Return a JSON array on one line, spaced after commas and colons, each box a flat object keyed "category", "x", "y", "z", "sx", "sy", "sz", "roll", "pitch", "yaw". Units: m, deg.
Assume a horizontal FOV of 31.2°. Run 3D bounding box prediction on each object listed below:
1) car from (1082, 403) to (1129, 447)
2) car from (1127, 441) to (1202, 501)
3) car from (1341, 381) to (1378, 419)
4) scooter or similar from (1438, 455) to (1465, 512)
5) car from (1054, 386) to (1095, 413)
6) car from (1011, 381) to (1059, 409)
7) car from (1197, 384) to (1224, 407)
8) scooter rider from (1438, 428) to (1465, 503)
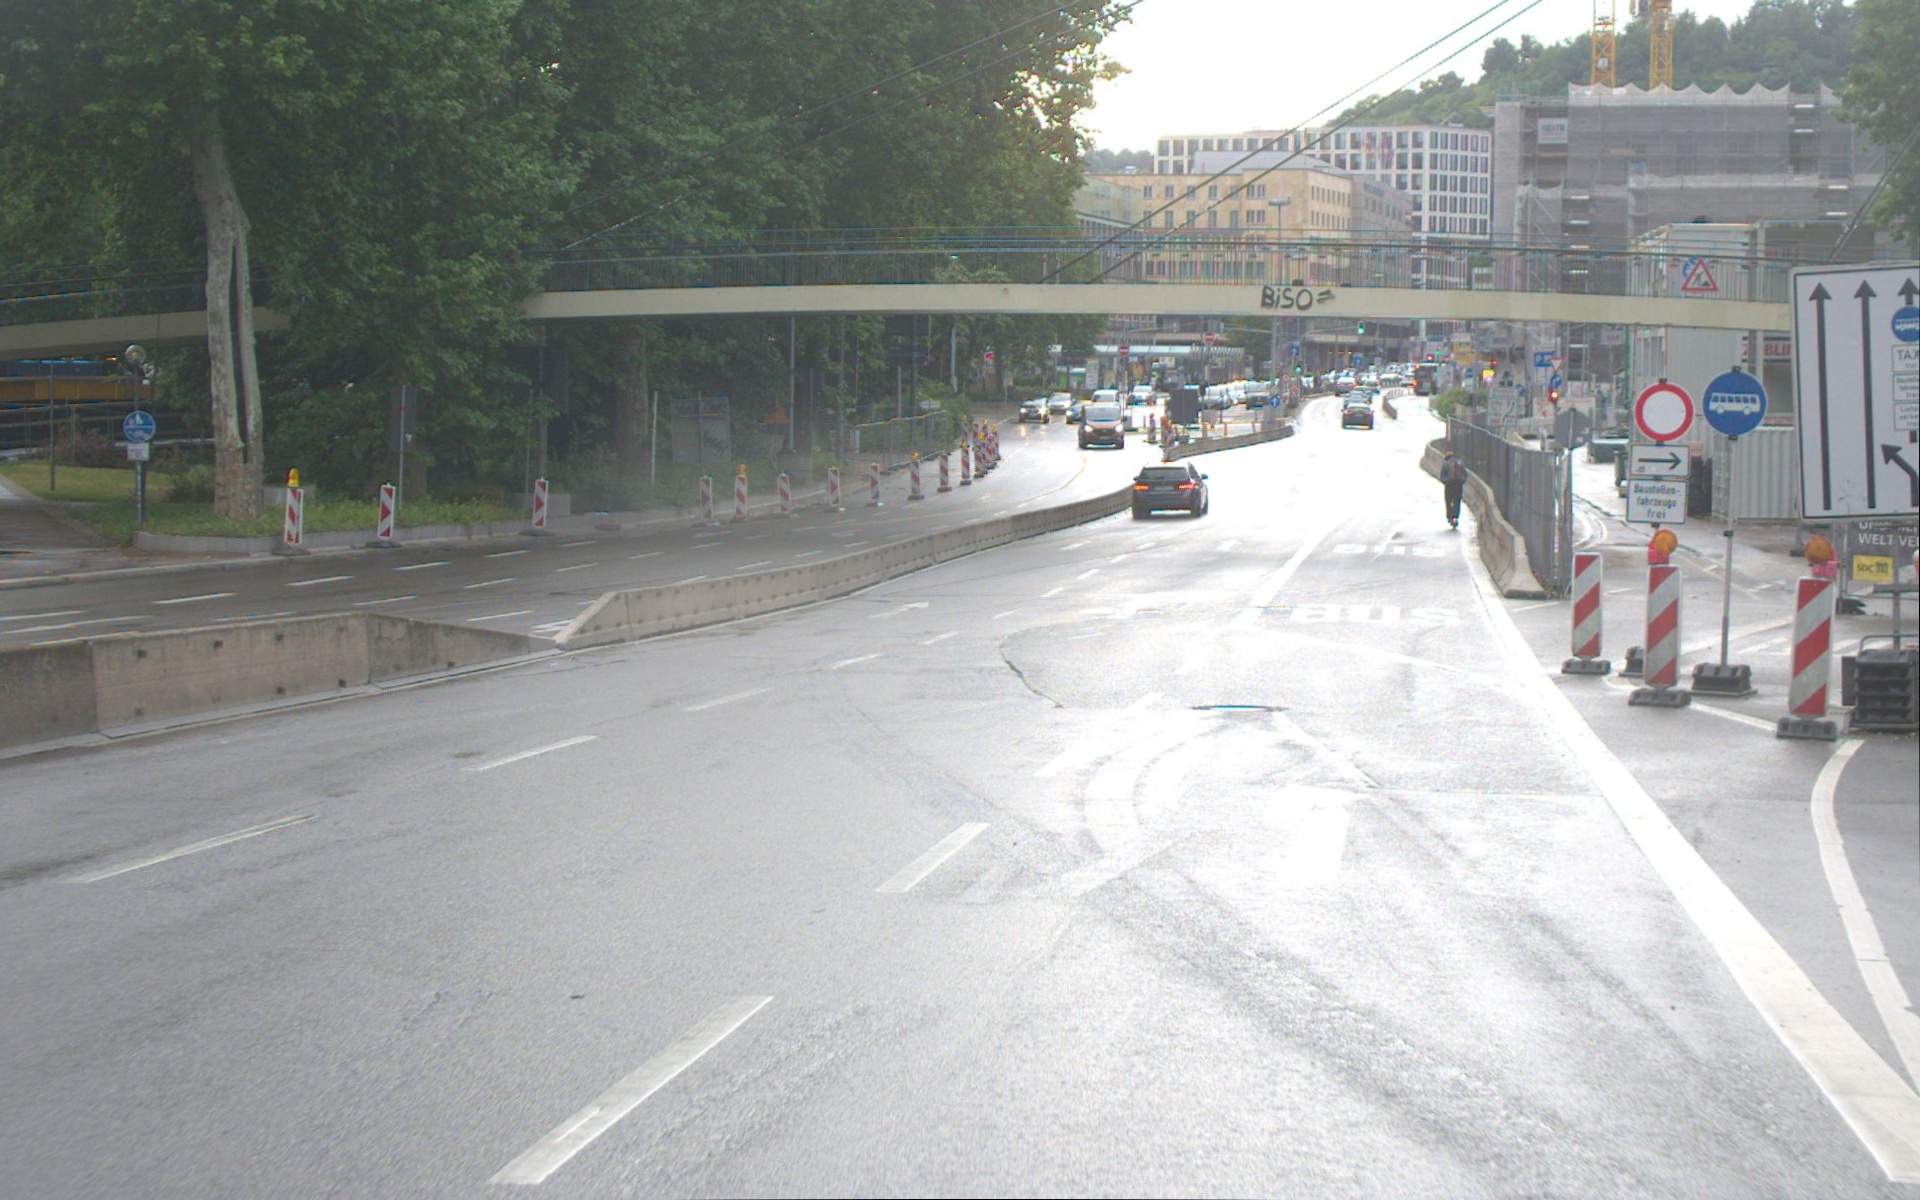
[{"category": "car", "x": 6.887, "y": -8.293, "z": 163.114, "sx": 2.031, "sy": 1.929, "sz": 5.044, "roll": -3, "pitch": 2, "yaw": 2}, {"category": "car", "x": 5.463, "y": -3.404, "z": 91.316, "sx": 1.902, "sy": 1.522, "sz": 4.177, "roll": -1, "pitch": 2, "yaw": 4}, {"category": "car", "x": 23.100, "y": -11.555, "z": 198.667, "sx": 1.994, "sy": 2.006, "sz": 3.999, "roll": -1, "pitch": 2, "yaw": 8}, {"category": "scooter or similar", "x": 12.027, "y": -2.857, "z": 84.060, "sx": 0.597, "sy": 1.314, "sz": 1.667, "roll": 2, "pitch": 4, "yaw": 9}, {"category": "car", "x": 7.127, "y": -12.488, "z": 214.051, "sx": 1.712, "sy": 1.334, "sz": 4.063, "roll": -9, "pitch": 3, "yaw": -8}, {"category": "car", "x": 4.648, "y": -12.746, "z": 213.891, "sx": 2.030, "sy": 1.647, "sz": 4.321, "roll": -1, "pitch": 5, "yaw": -13}, {"category": "car", "x": 18.015, "y": -14.707, "z": 247.122, "sx": 1.902, "sy": 1.522, "sz": 4.177, "roll": -1, "pitch": 2, "yaw": 4}, {"category": "scooter rider", "x": 12.020, "y": -3.297, "z": 84.034, "sx": 0.597, "sy": 1.779, "sz": 0.997, "roll": 2, "pitch": 4, "yaw": 9}]
